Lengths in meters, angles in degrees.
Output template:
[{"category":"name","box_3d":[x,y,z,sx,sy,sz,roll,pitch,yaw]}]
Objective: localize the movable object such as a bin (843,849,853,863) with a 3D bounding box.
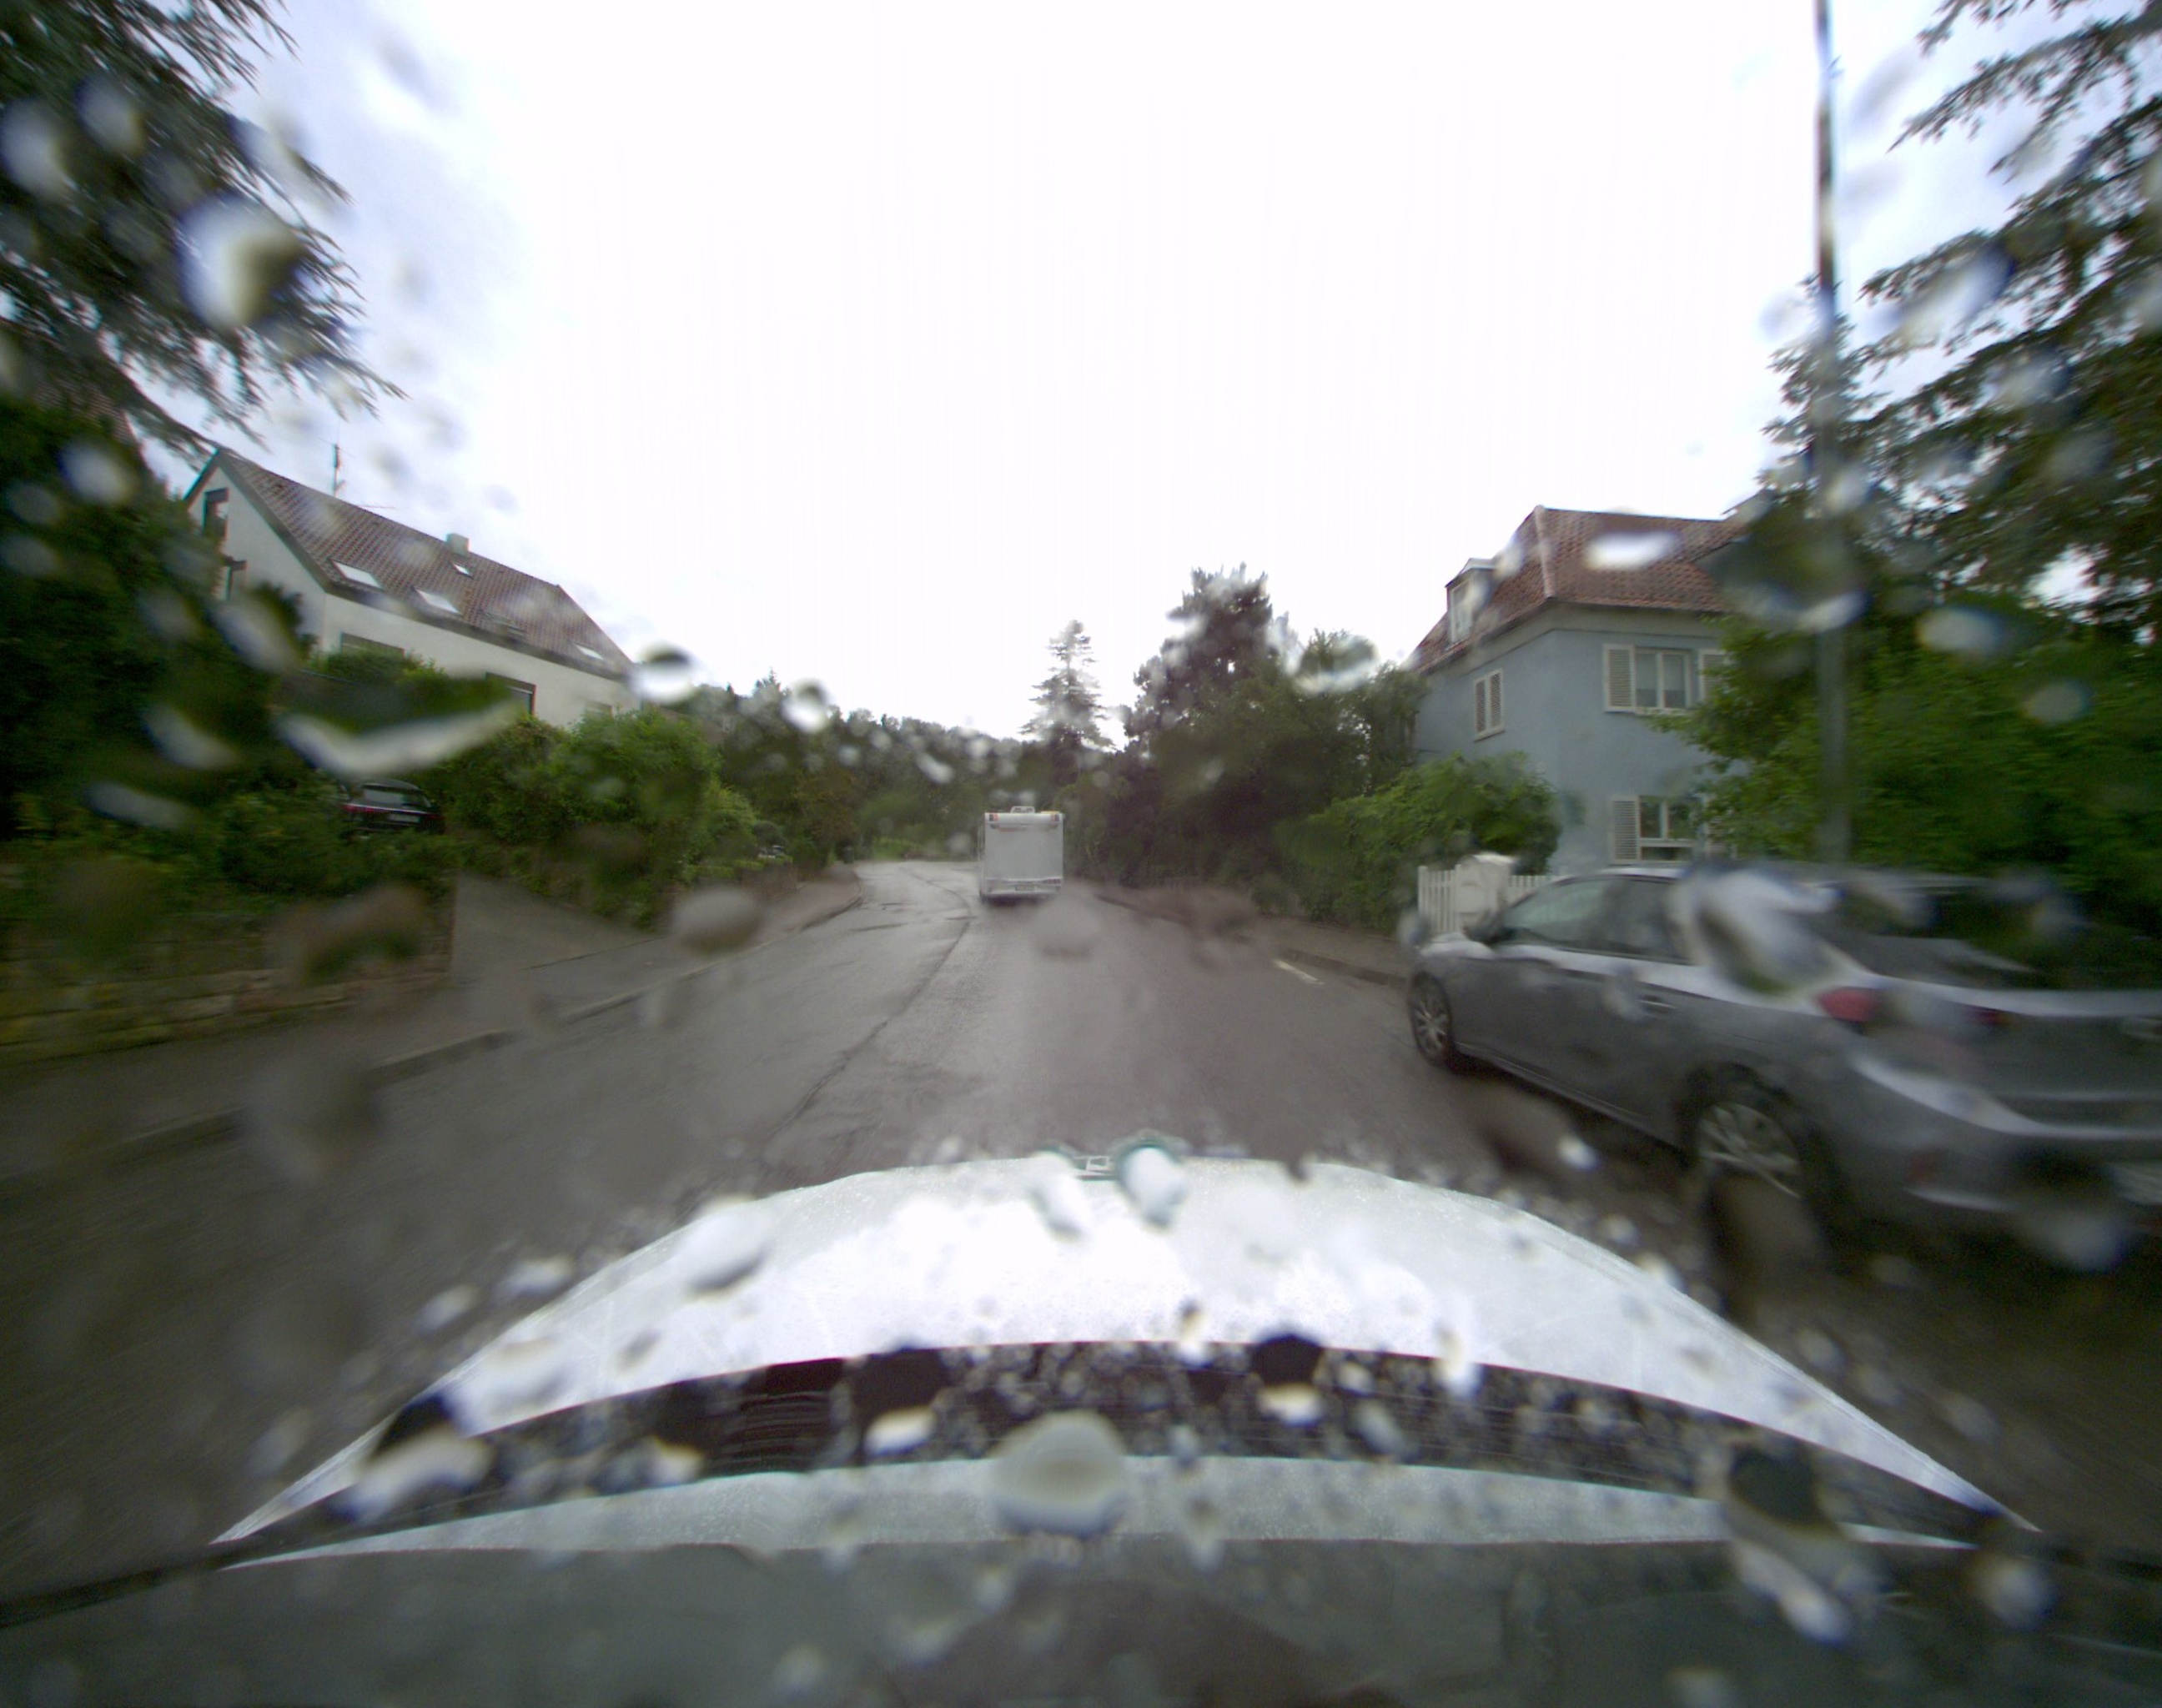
[{"category":"movable object such as a bin","box_3d":[-18.514,0.183,64.625,0.743,1.094,0.753,1,0,-18]}]

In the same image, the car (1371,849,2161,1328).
[{"category":"car","box_3d":[3.249,0.701,4.554,1.681,1.457,4.054,0,0,-3]}]

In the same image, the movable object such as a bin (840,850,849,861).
[{"category":"movable object such as a bin","box_3d":[-22.187,0.099,76.492,0.757,1.022,0.739,1,0,-17]}]

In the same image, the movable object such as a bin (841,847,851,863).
[{"category":"movable object such as a bin","box_3d":[-18.849,0.091,65.429,0.743,1.253,0.753,1,0,-18]}]

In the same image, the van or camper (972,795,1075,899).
[{"category":"van or camper","box_3d":[-1.964,-0.124,25.555,2.616,2.853,6.010,1,-1,-10]}]

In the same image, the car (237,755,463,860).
[{"category":"car","box_3d":[-14.590,-0.921,16.268,3.754,1.523,1.740,9,3,21]}]
